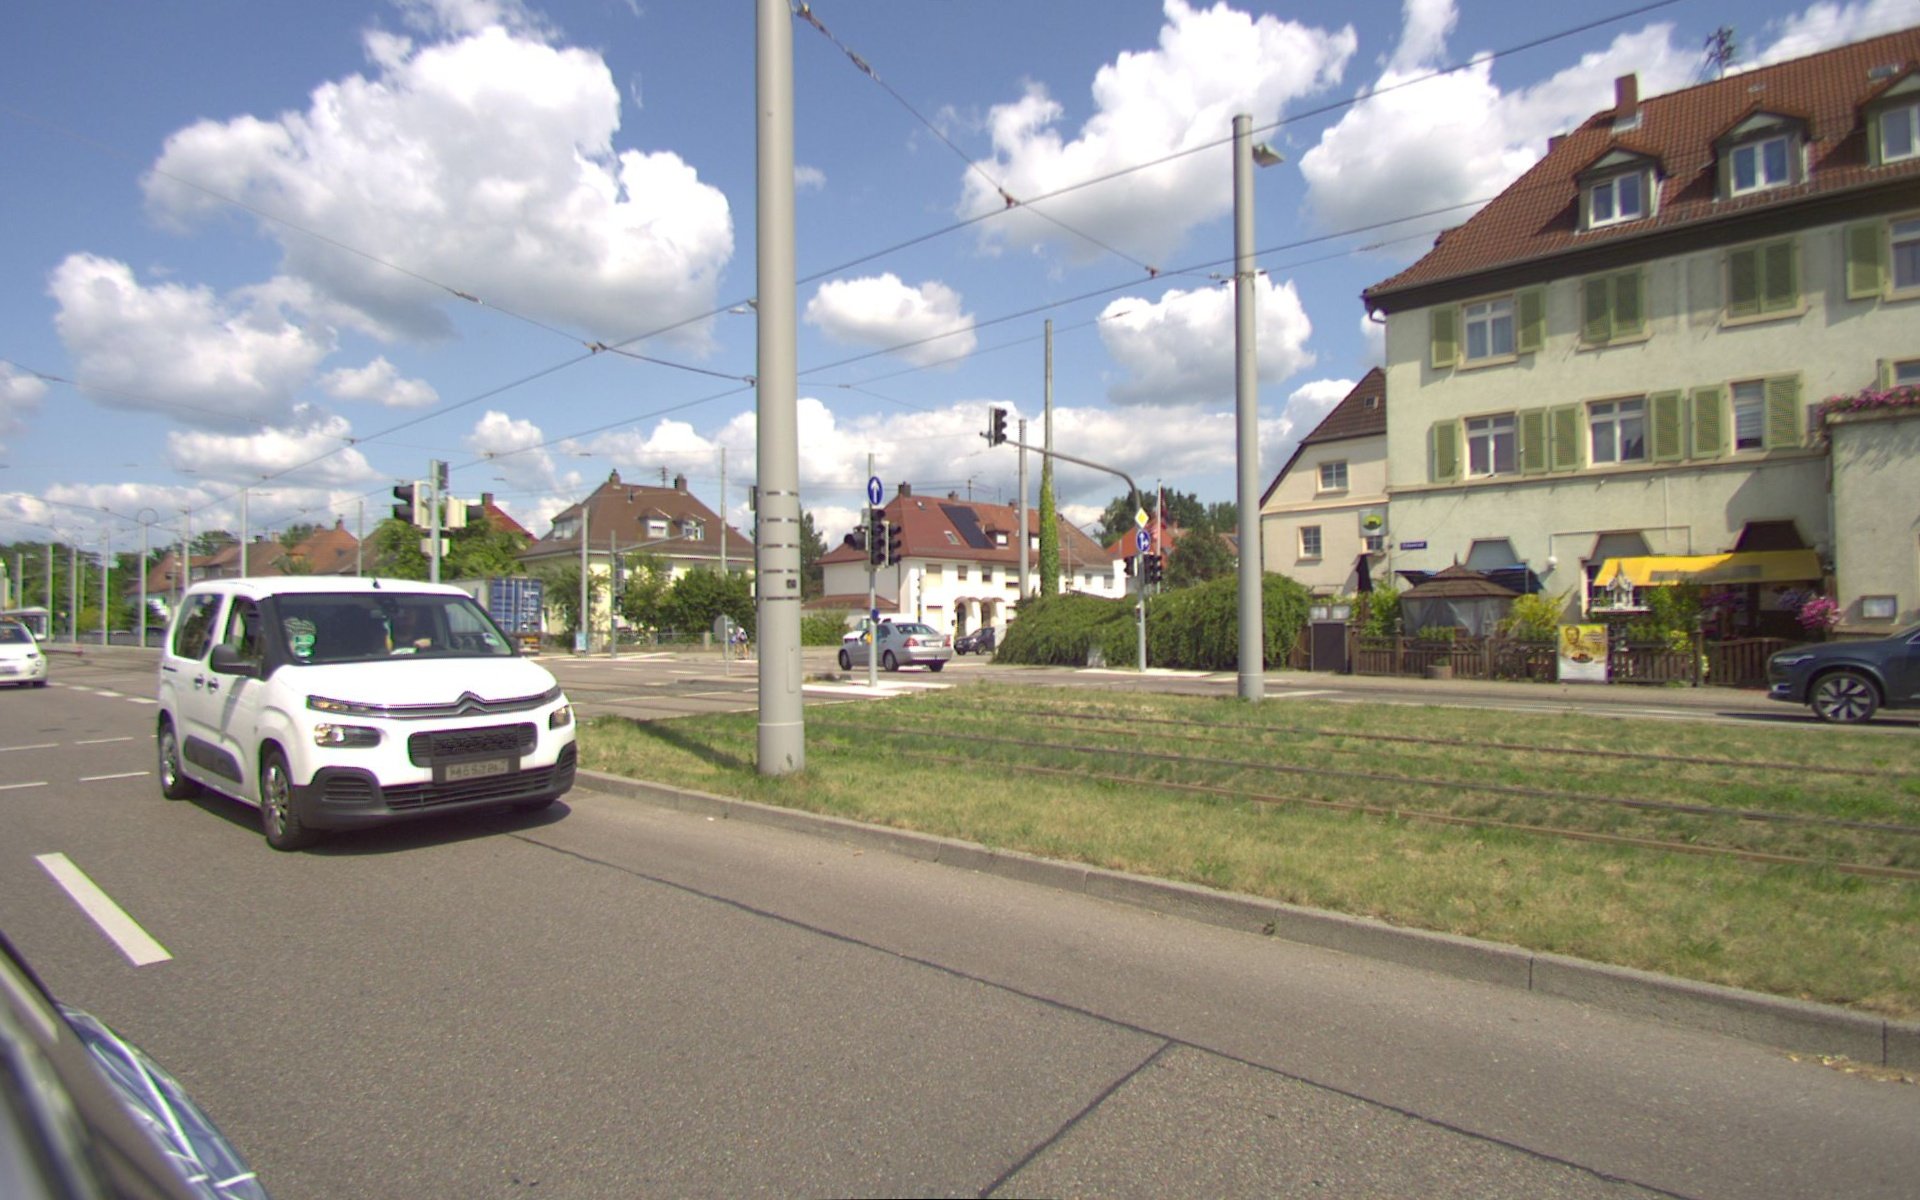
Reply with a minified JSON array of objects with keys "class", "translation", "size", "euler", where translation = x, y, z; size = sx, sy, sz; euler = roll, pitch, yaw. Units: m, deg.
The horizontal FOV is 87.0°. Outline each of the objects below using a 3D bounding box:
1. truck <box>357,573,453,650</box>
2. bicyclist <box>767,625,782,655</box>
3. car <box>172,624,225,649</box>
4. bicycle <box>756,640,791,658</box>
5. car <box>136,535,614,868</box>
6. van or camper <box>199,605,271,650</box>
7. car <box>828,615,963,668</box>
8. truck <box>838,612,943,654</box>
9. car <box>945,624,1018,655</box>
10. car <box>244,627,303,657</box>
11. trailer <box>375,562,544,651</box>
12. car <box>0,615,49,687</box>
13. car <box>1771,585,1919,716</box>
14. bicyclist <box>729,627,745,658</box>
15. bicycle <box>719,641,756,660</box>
[{"class":"truck","translation":[-29.380,0.713,53.467],"size":[5.664,3.851,2.572],"euler":[-3,-4,41]},{"class":"bicyclist","translation":[-9.643,2.078,52.621],"size":[0.602,1.509,0.494],"euler":[-1,0,43]},{"class":"car","translation":[-51.270,2.478,68.143],"size":[4.176,1.564,1.972],"euler":[-1,-4,41]},{"class":"bicycle","translation":[-9.693,2.525,52.560],"size":[0.602,0.841,1.784],"euler":[-1,1,42]},{"class":"car","translation":[-4.597,0.565,7.654],"size":[4.327,1.829,1.776],"euler":[-1,0,41]},{"class":"van or camper","translation":[-52.724,1.920,73.556],"size":[7.747,2.952,2.301],"euler":[2,0,39]},{"class":"car","translation":[-1.961,1.152,29.261],"size":[1.771,1.397,4.481],"euler":[1,-2,-36]},{"class":"truck","translation":[-3.647,1.710,54.494],"size":[1.690,1.936,6.117],"euler":[-1,1,43]},{"class":"car","translation":[1.282,2.268,59.179],"size":[2.000,1.564,4.119],"euler":[0,1,43]},{"class":"car","translation":[-39.128,2.351,57.651],"size":[4.471,1.649,1.775],"euler":[-1,-2,43]},{"class":"trailer","translation":[-24.703,0.529,49.419],"size":[12.828,3.851,2.572],"euler":[-3,-4,41]},{"class":"car","translation":[-21.892,1.137,22.629],"size":[3.388,1.515,1.660],"euler":[-2,0,38]},{"class":"car","translation":[14.067,0.679,13.574],"size":[4.933,1.725,1.994],"euler":[-1,-2,40]},{"class":"bicyclist","translation":[-11.183,2.130,50.752],"size":[0.602,1.509,0.494],"euler":[-1,0,43]},{"class":"bicycle","translation":[-11.171,2.532,50.763],"size":[0.602,0.841,1.784],"euler":[-1,1,42]}]
